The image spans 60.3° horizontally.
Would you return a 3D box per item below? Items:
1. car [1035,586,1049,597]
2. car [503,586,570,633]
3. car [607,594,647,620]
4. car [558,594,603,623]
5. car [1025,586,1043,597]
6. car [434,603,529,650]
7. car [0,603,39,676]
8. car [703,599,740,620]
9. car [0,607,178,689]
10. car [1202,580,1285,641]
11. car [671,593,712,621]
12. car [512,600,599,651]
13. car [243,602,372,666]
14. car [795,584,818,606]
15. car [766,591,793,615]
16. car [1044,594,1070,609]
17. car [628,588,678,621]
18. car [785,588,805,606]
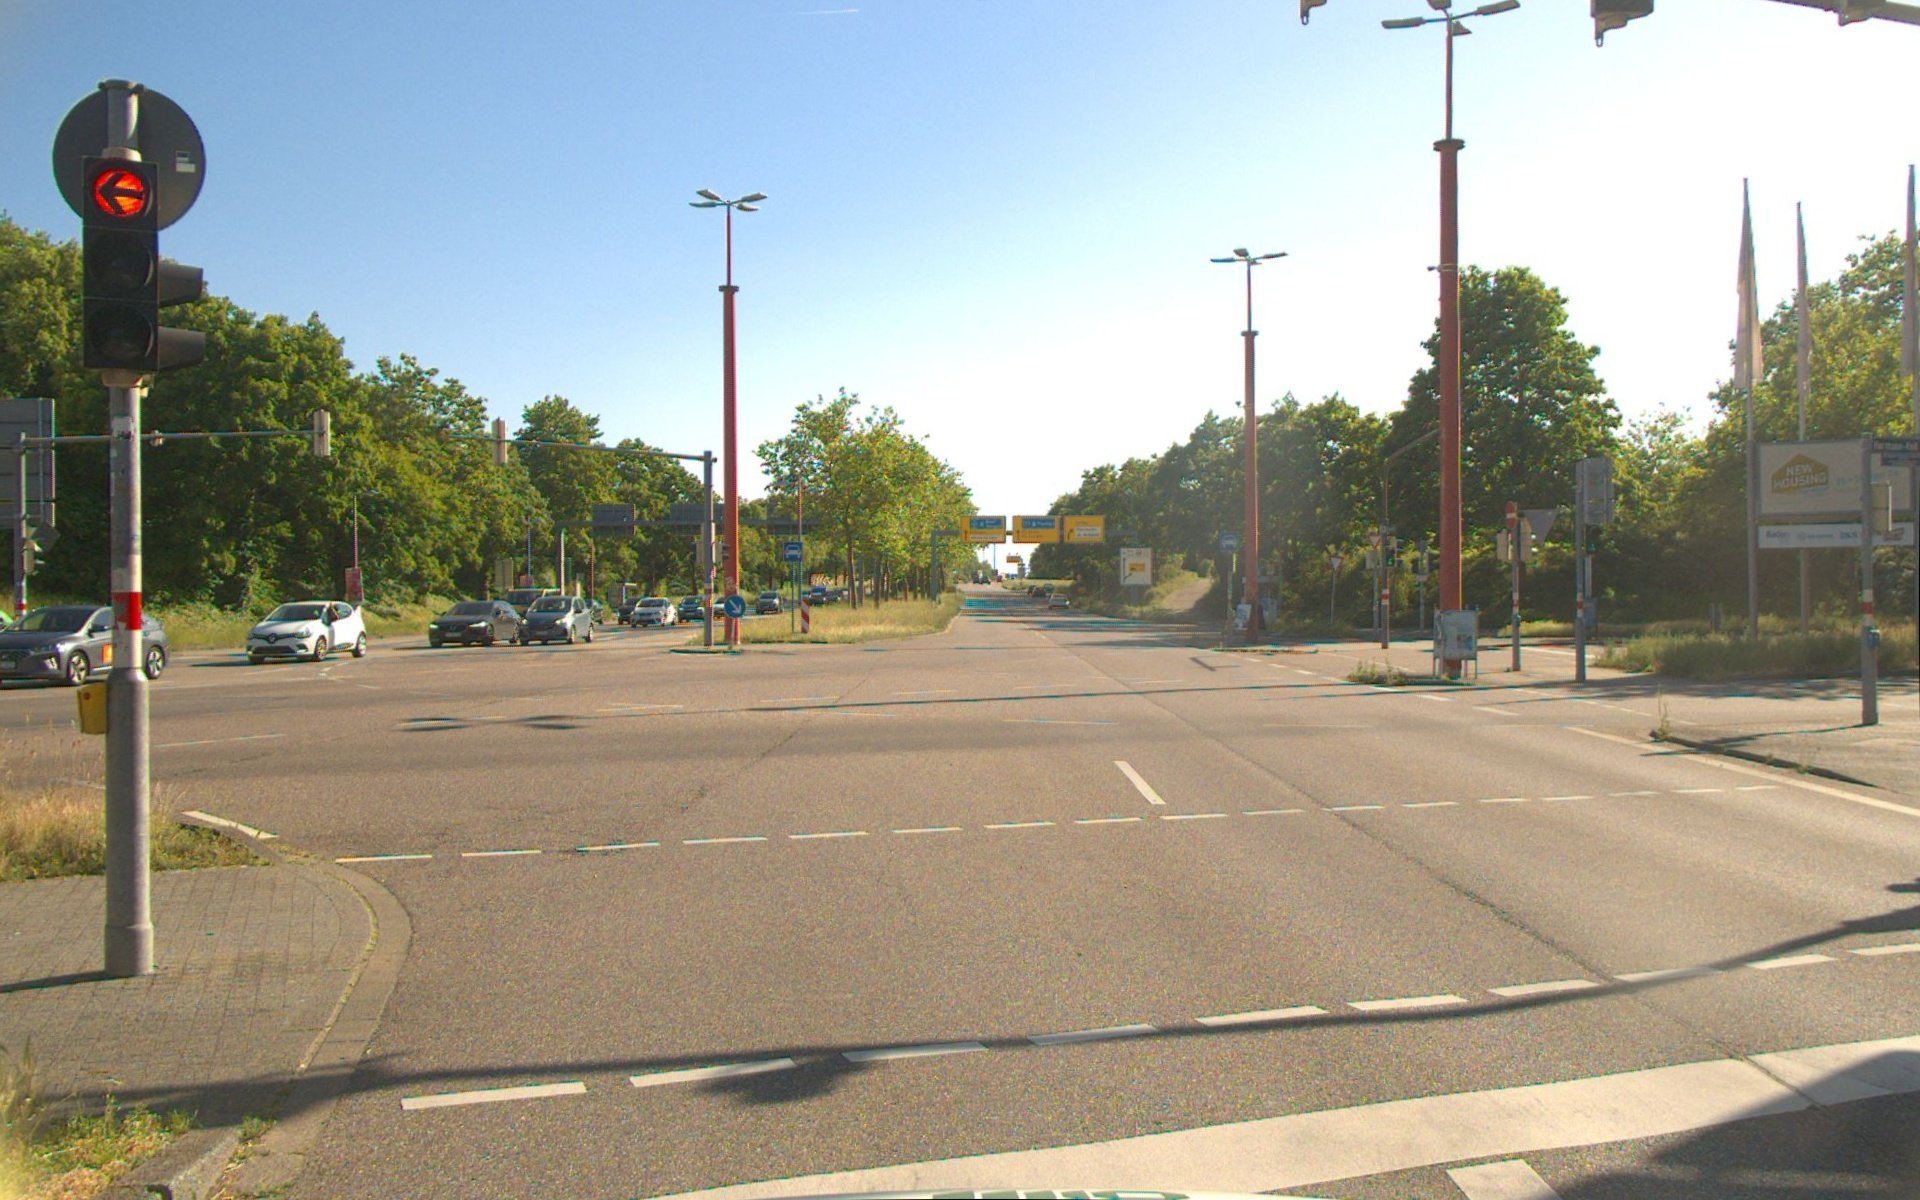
[{"bbox_3d":[10.675,-1.104,214.584,1.702,1.365,3.082,0,0,1],"label":"car"},{"bbox_3d":[-18.985,0.427,74.357,1.721,2.022,4.789,1,0,1],"label":"car"},{"bbox_3d":[-19.500,0.392,96.959,1.595,1.476,3.434,1,0,0],"label":"car"},{"bbox_3d":[-22.559,0.513,98.518,1.954,1.667,3.997,1,0,-3],"label":"car"},{"bbox_3d":[10.728,-1.216,240.459,1.956,1.523,3.994,0,0,-7],"label":"car"},{"bbox_3d":[-15.318,0.818,53.210,1.595,1.392,4.797,0,0,1],"label":"car"},{"bbox_3d":[-19.783,0.799,32.161,1.512,1.458,3.886,-1,0,1],"label":"car"},{"bbox_3d":[-15.677,0.626,108.769,1.963,1.330,3.998,0,0,-2],"label":"car"},{"bbox_3d":[-16.421,0.844,30.978,1.516,1.401,4.262,0,0,0],"label":"car"},{"bbox_3d":[9.282,0.326,53.914,1.952,1.920,4.000,0,0,21],"label":"car"},{"bbox_3d":[-15.664,0.387,96.691,1.668,1.586,3.804,1,0,1],"label":"car"},{"bbox_3d":[-12.708,0.785,52.180,1.666,1.446,4.000,3,0,1],"label":"car"},{"bbox_3d":[-16.076,0.793,40.944,1.572,1.485,3.951,0,0,1],"label":"car"},{"bbox_3d":[-15.252,-0.484,164.463,1.963,2.049,3.998,1,0,-2],"label":"car"},{"bbox_3d":[-14.001,0.221,128.357,1.592,1.769,4.001,0,0,1],"label":"car"},{"bbox_3d":[9.120,0.162,155.507,2.013,1.395,4.390,0,0,-2],"label":"car"},{"bbox_3d":[-15.428,0.234,83.348,1.668,1.624,4.001,1,0,2],"label":"car"},{"bbox_3d":[-18.464,-0.328,185.577,1.963,2.049,3.998,1,0,-2],"label":"car"}]
